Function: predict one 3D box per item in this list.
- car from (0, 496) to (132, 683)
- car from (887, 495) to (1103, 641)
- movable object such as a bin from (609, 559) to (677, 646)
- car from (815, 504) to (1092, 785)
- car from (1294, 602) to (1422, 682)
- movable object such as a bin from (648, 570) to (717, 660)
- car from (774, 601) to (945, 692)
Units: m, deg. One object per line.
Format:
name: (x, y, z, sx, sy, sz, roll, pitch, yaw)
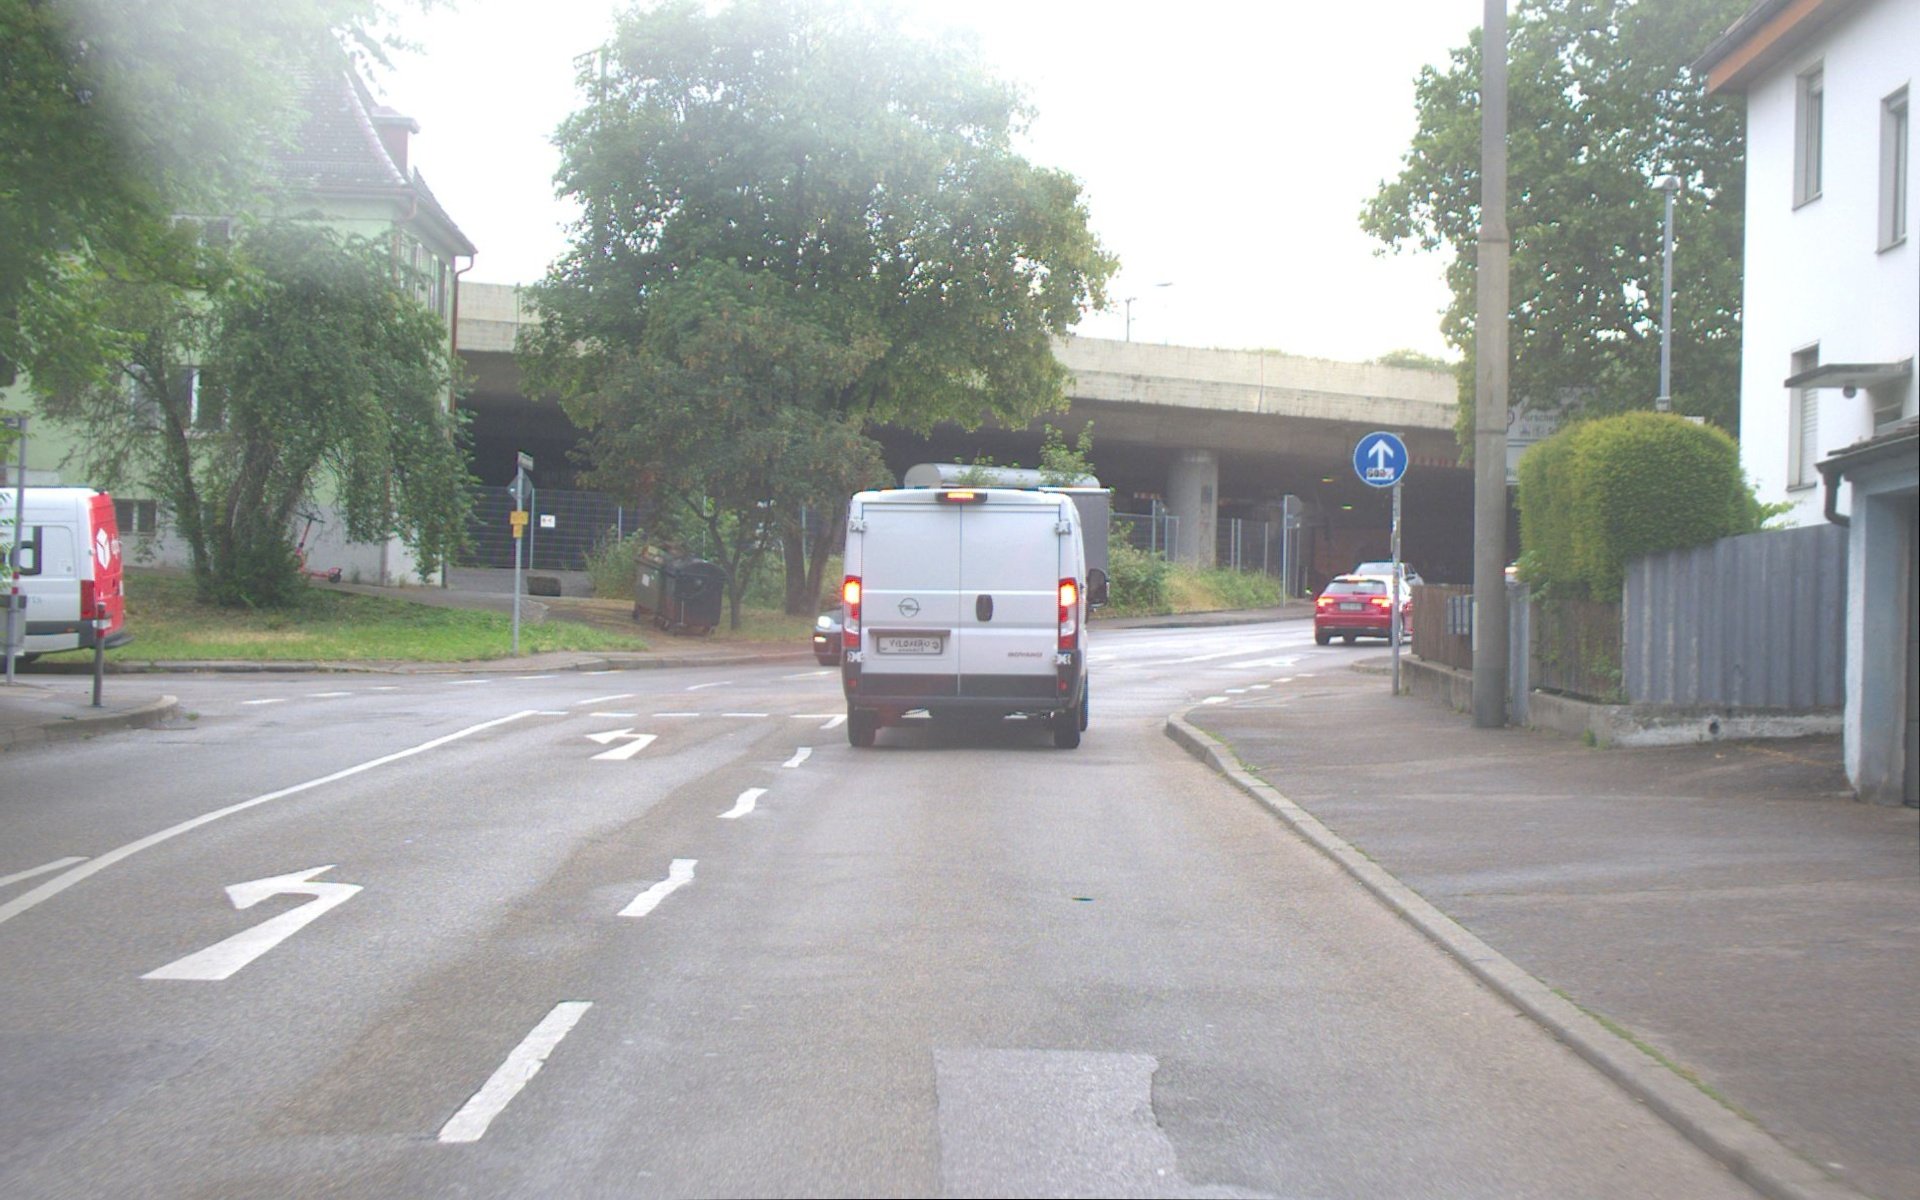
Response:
car: (-14.811, -0.193, 49.836, 5.046, 2.620, 2.153, 1, 0, -1)
car: (0.876, -0.661, 76.585, 2.536, 3.008, 7.203, 2, 0, 19)
movable object such as a bin: (-6.107, 0.044, 66.350, 0.940, 1.558, 1.130, 8, 1, 4)
car: (0.039, 0.365, 31.417, 2.146, 2.276, 5.062, 2, 0, 3)
car: (8.174, 0.849, 70.317, 1.767, 1.505, 3.751, 2, 0, 19)
movable object such as a bin: (-5.223, 0.279, 64.809, 0.940, 1.558, 1.130, 8, 1, 4)
car: (-1.677, 0.819, 59.266, 1.994, 1.452, 4.827, 1, -1, 10)
